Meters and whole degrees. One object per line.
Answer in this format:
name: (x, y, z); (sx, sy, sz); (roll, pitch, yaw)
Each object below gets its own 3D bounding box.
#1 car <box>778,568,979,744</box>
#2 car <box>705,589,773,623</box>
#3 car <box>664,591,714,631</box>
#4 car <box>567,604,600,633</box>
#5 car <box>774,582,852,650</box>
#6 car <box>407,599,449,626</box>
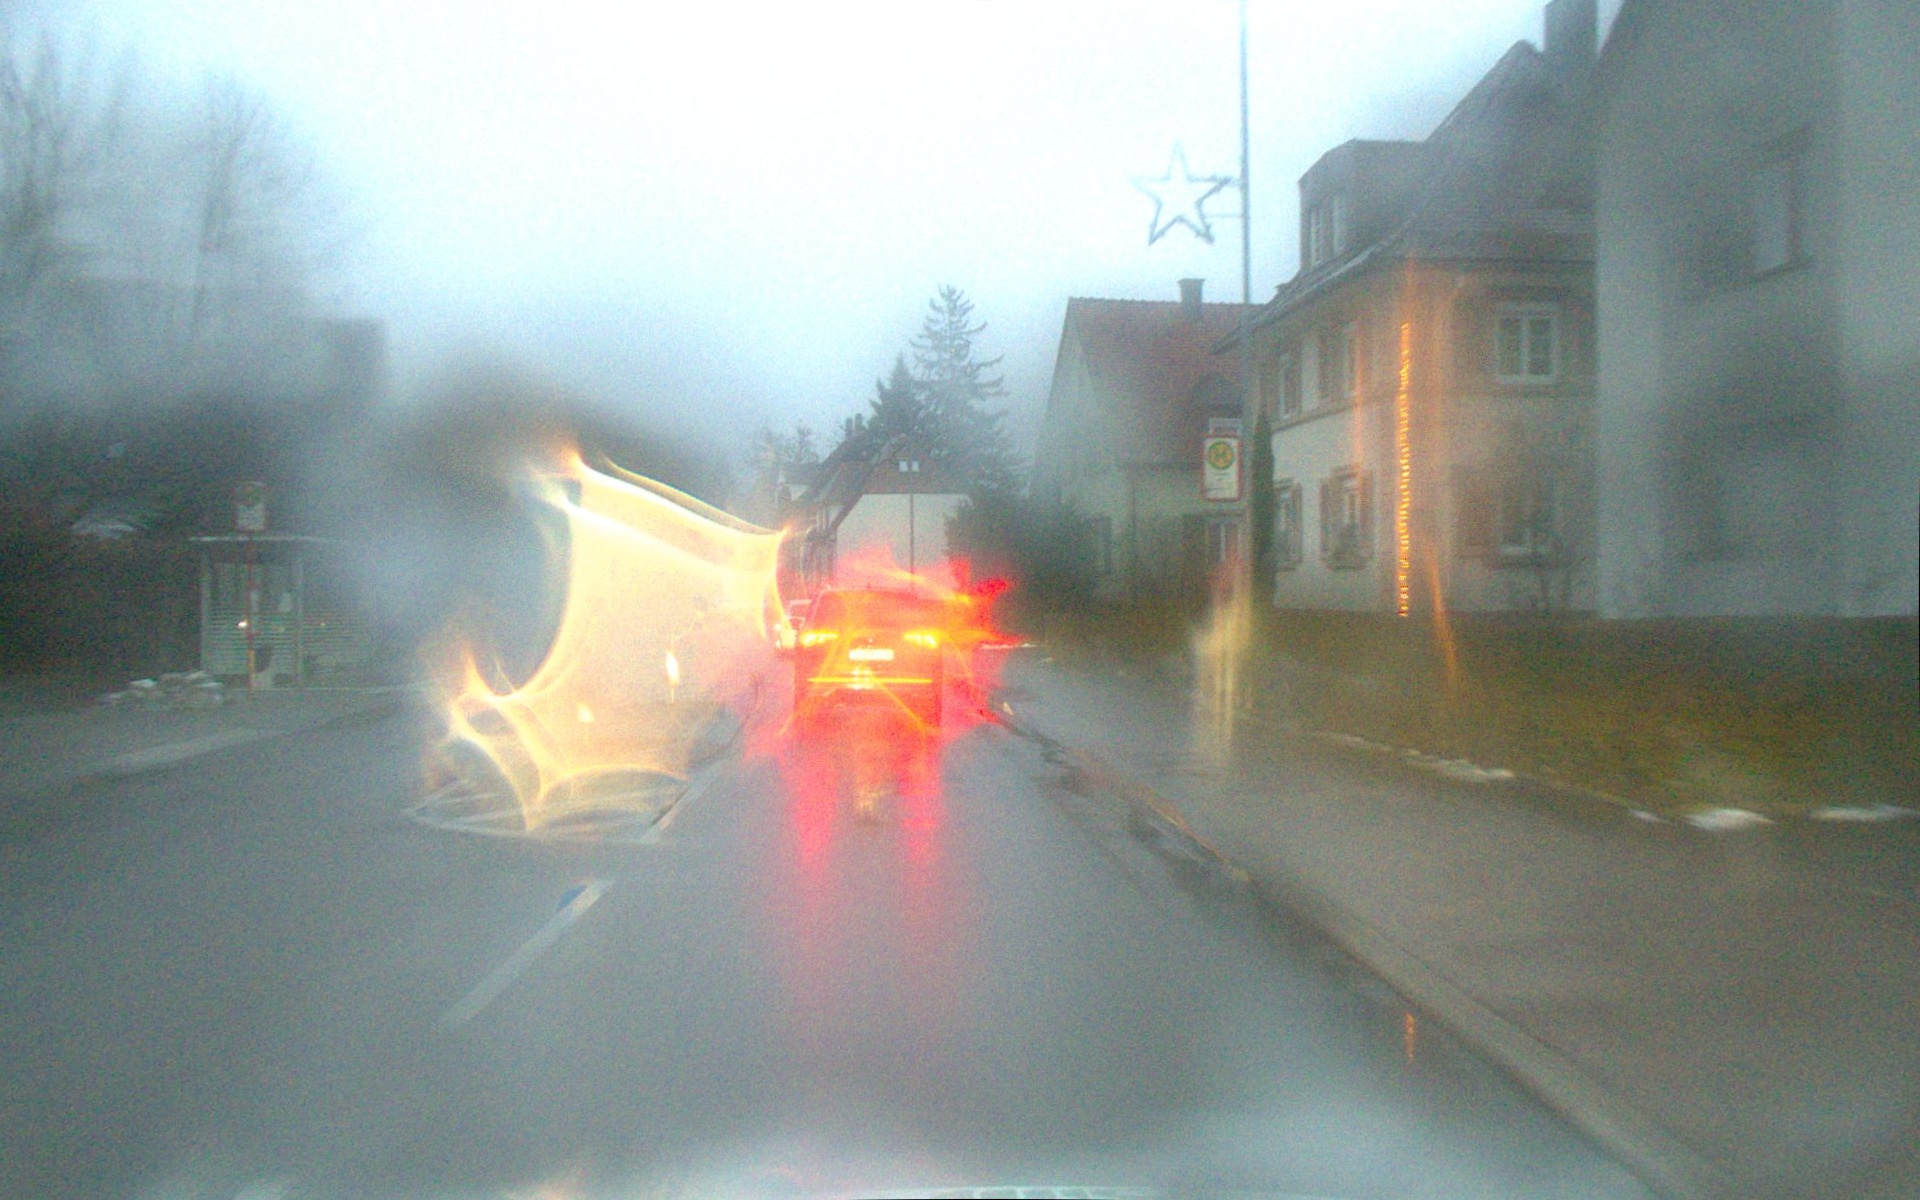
car: (-1.116, 0.651, 21.363); (2.264, 1.972, 5.013); (-1, 0, -4)
car: (-14.180, 0.376, 105.960); (4.170, 2.049, 1.806); (-1, 0, -11)
car: (-14.215, 0.585, 86.554); (2.269, 1.972, 5.001); (-1, 0, -13)
car: (-22.366, 1.084, 98.280); (1.792, 1.581, 3.987); (-2, 0, -13)
car: (-3.843, 0.384, 42.719); (1.823, 1.676, 3.993); (0, 0, -8)
car: (-29.920, 0.708, 92.975); (1.755, 1.417, 3.968); (2, -1, -25)
